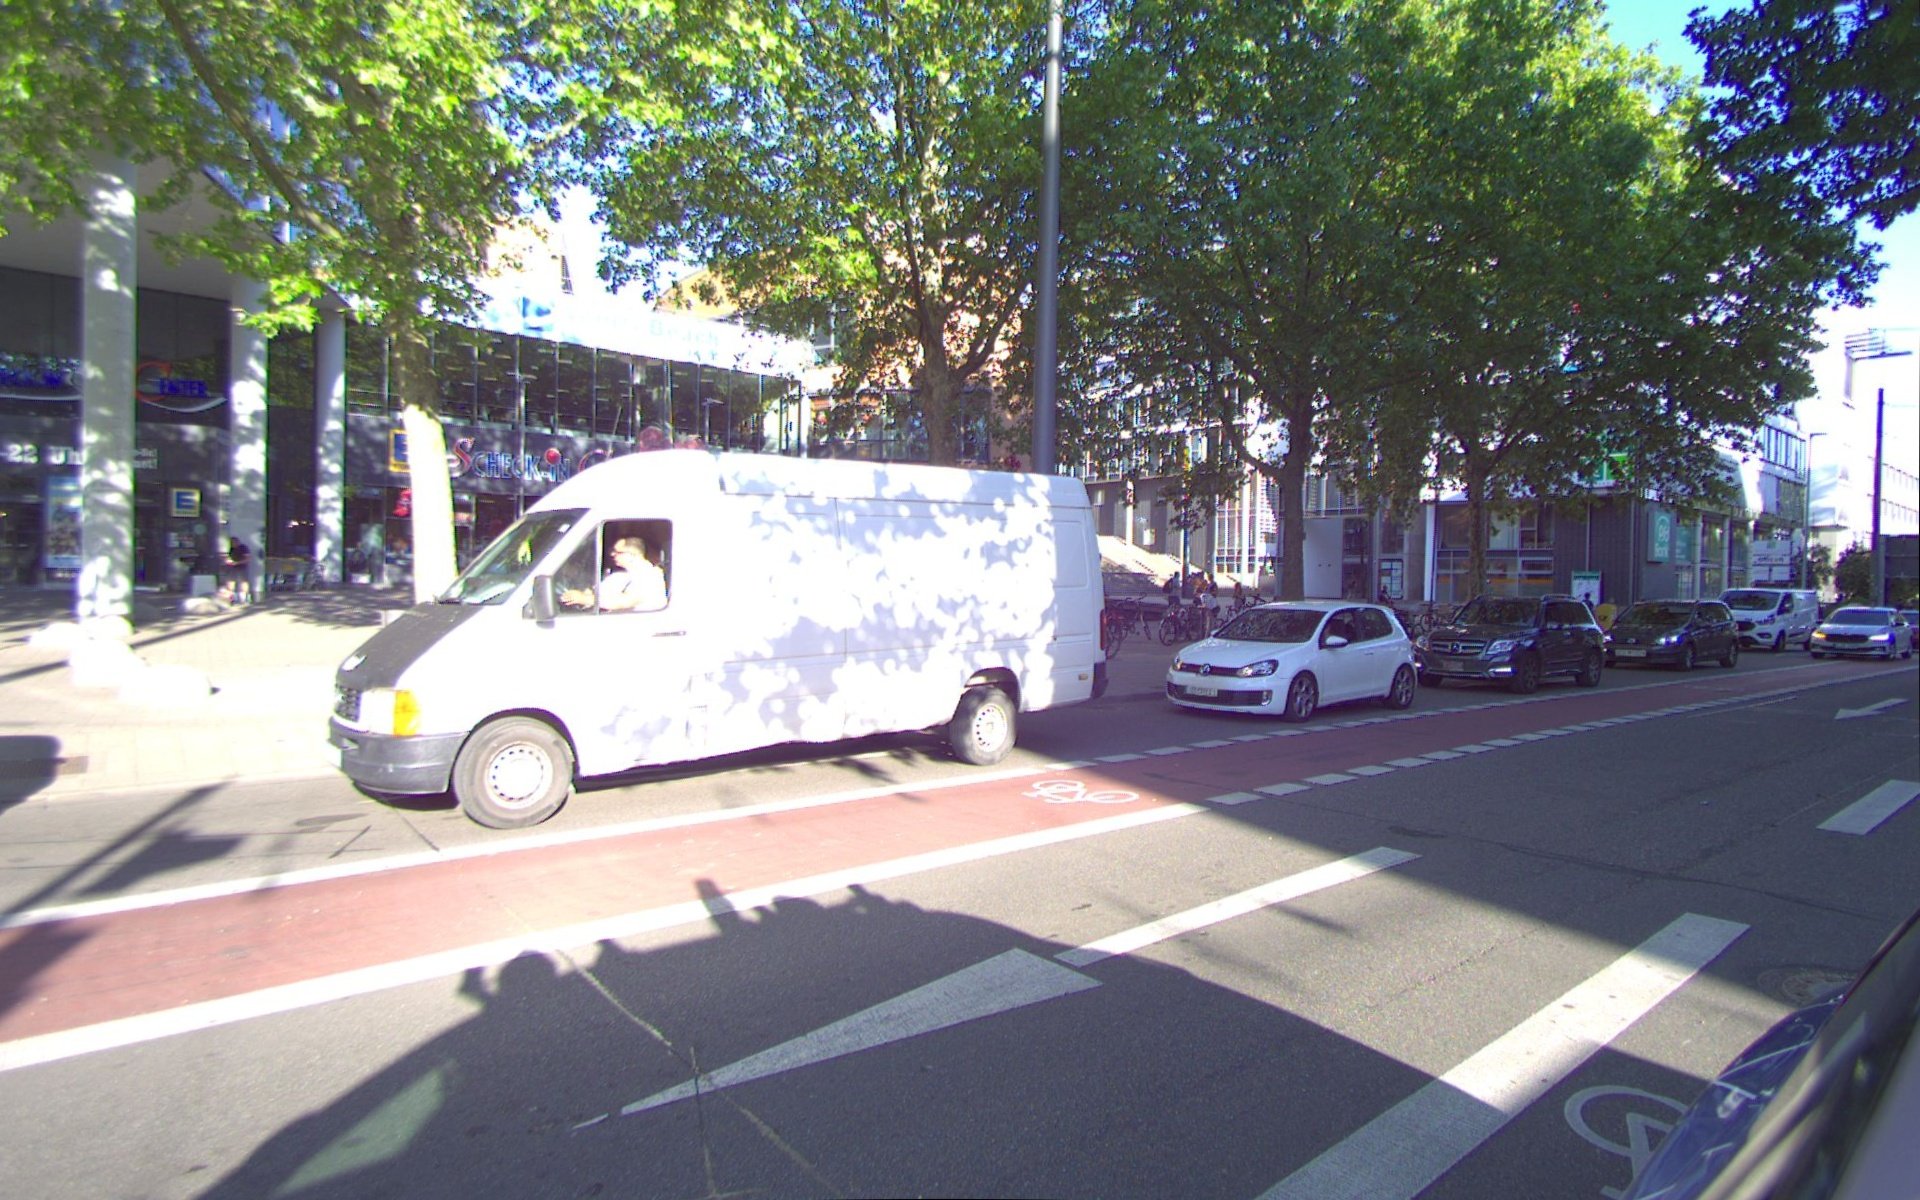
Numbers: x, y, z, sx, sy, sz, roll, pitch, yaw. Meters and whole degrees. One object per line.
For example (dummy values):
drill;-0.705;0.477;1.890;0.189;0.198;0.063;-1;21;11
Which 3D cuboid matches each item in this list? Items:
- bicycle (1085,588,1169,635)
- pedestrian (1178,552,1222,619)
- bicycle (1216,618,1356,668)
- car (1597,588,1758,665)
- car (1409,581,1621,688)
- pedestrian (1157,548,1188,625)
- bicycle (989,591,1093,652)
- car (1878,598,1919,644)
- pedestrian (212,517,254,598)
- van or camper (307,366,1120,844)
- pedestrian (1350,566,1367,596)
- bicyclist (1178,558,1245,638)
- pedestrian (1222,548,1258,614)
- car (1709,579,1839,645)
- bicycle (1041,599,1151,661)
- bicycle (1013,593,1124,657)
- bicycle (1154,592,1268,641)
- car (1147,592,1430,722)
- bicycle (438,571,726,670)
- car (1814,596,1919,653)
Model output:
bicycle;4.506;0.282;27.121;2.653;1.215;0.698;-1;1;-41
pedestrian;8.240;-0.505;34.791;1.195;2.276;1.052;0;0;-3
bicycle;7.590;0.976;23.554;3.136;1.038;0.979;0;0;-18
car;16.876;0.559;23.748;4.306;1.656;1.712;0;0;-34
car;9.738;0.522;17.638;4.172;1.656;1.769;0;0;-38
pedestrian;7.613;-0.478;36.230;0.967;2.681;0.897;0;0;18
bicycle;1.674;0.407;20.538;2.263;1.177;0.671;-1;0;-39
car;32.772;0.682;34.484;4.123;1.508;1.833;0;-1;-42
pedestrian;-18.782;-1.072;26.168;0.843;2.039;1.024;0;0;-34
van or camper;-1.538;-0.003;8.465;6.384;2.647;2.004;0;1;-41
pedestrian;27.420;-1.326;69.633;0.860;2.039;0.796;0;0;-41
bicyclist;6.624;-0.071;26.689;1.132;2.039;1.301;0;1;-24
pedestrian;9.683;-0.649;35.016;0.884;2.261;0.845;0;0;-19
car;26.519;0.339;32.885;5.808;1.989;1.934;0;0;-37
bicycle;2.586;0.528;19.065;2.295;1.073;0.682;-1;1;-39
bicycle;2.156;0.465;19.925;2.355;1.177;0.750;-1;0;-40
bicycle;6.574;0.398;26.788;1.124;1.097;3.342;0;2;-23
car;4.371;0.637;13.221;3.914;1.446;1.639;0;0;-38
bicycle;-5.250;0.233;14.339;3.744;1.236;0.758;-2;1;-35
car;26.044;0.646;28.746;4.117;1.508;1.836;0;0;-37
